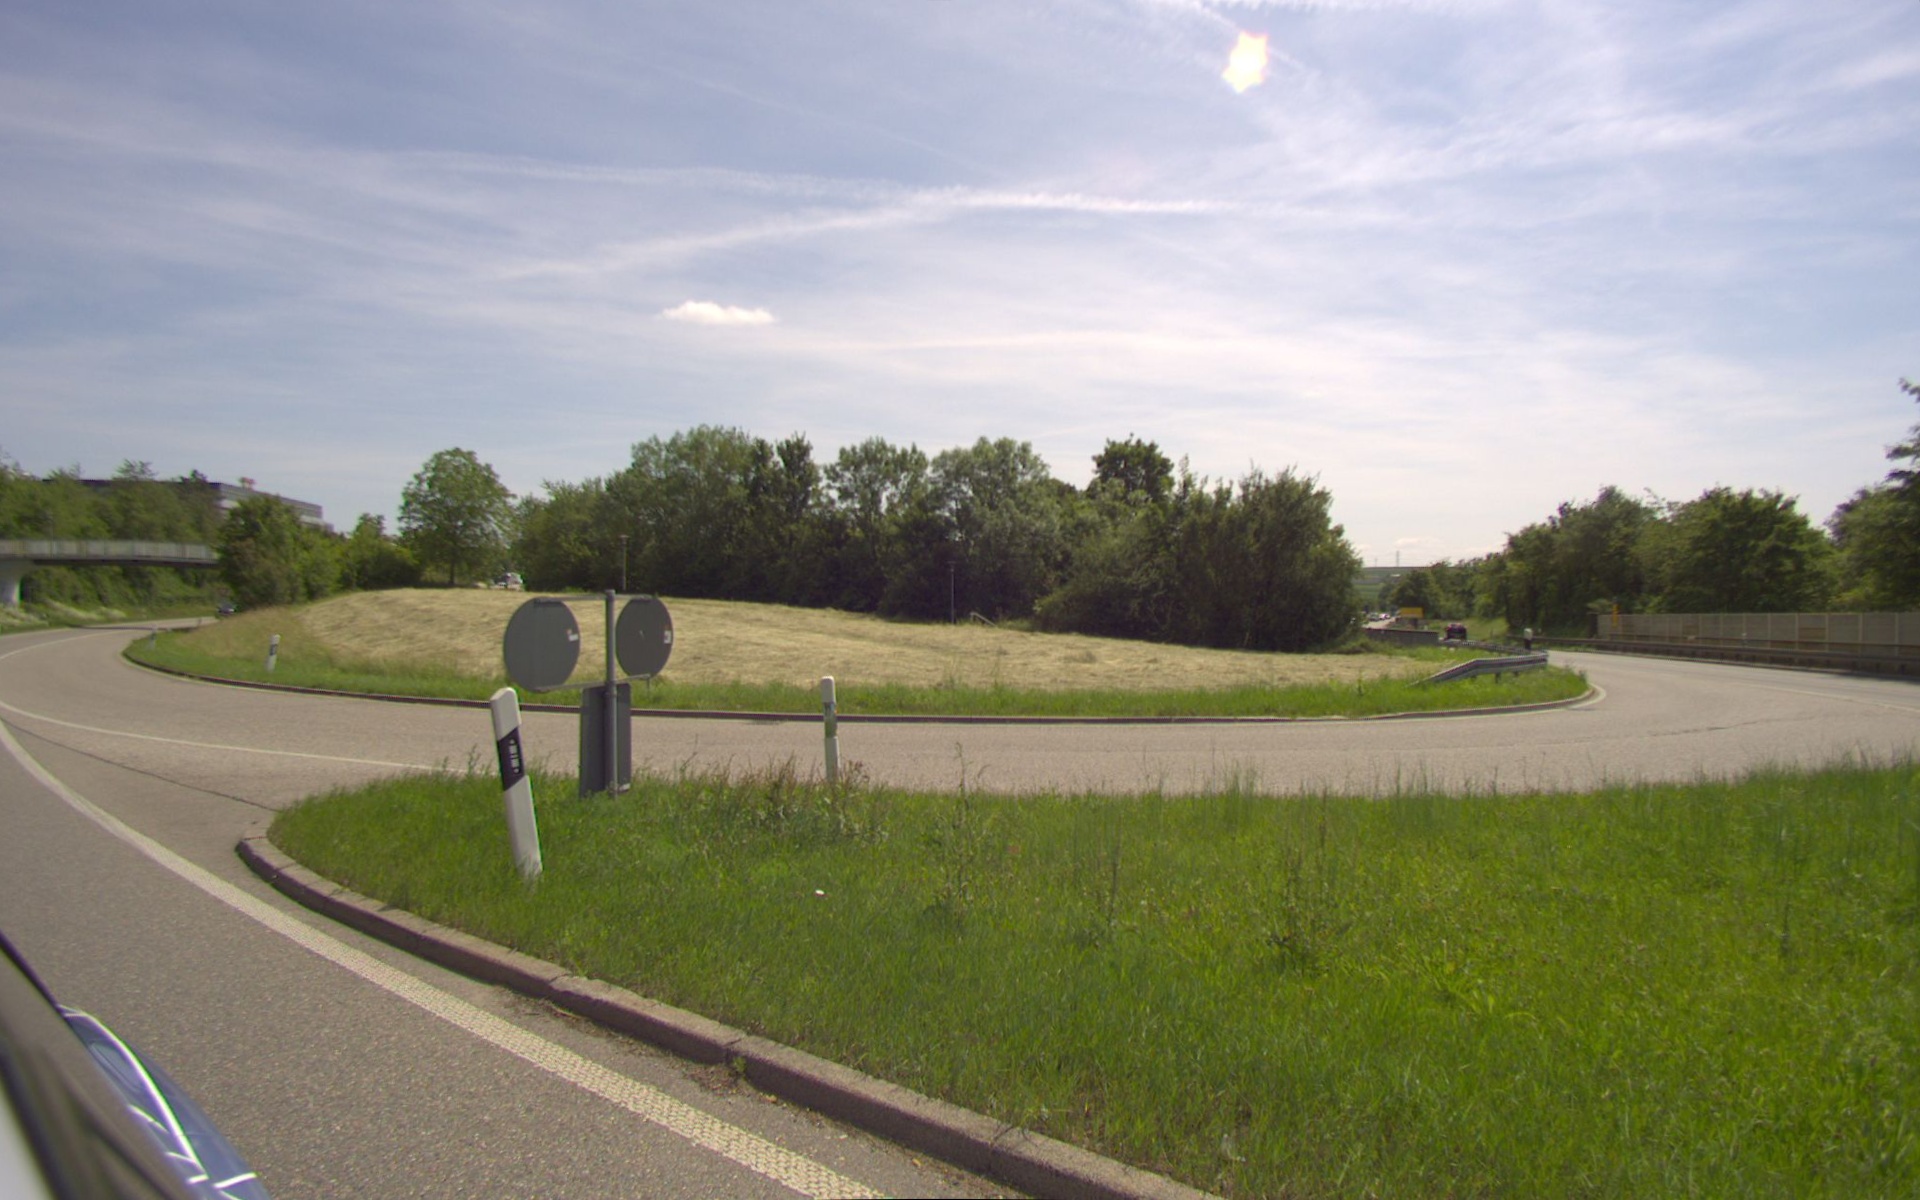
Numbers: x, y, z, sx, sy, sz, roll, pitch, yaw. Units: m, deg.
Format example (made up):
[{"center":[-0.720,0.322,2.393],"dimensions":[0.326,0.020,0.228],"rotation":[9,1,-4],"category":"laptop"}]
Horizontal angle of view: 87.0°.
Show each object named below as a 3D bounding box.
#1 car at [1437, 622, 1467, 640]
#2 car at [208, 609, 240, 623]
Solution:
[{"center":[44.919,2.790,92.515],"dimensions":[1.740,1.550,4.085],"rotation":[-1,-1,16],"category":"car"},{"center":[-79.421,1.703,109.277],"dimensions":[1.926,1.433,3.950],"rotation":[1,-2,-23],"category":"car"}]
